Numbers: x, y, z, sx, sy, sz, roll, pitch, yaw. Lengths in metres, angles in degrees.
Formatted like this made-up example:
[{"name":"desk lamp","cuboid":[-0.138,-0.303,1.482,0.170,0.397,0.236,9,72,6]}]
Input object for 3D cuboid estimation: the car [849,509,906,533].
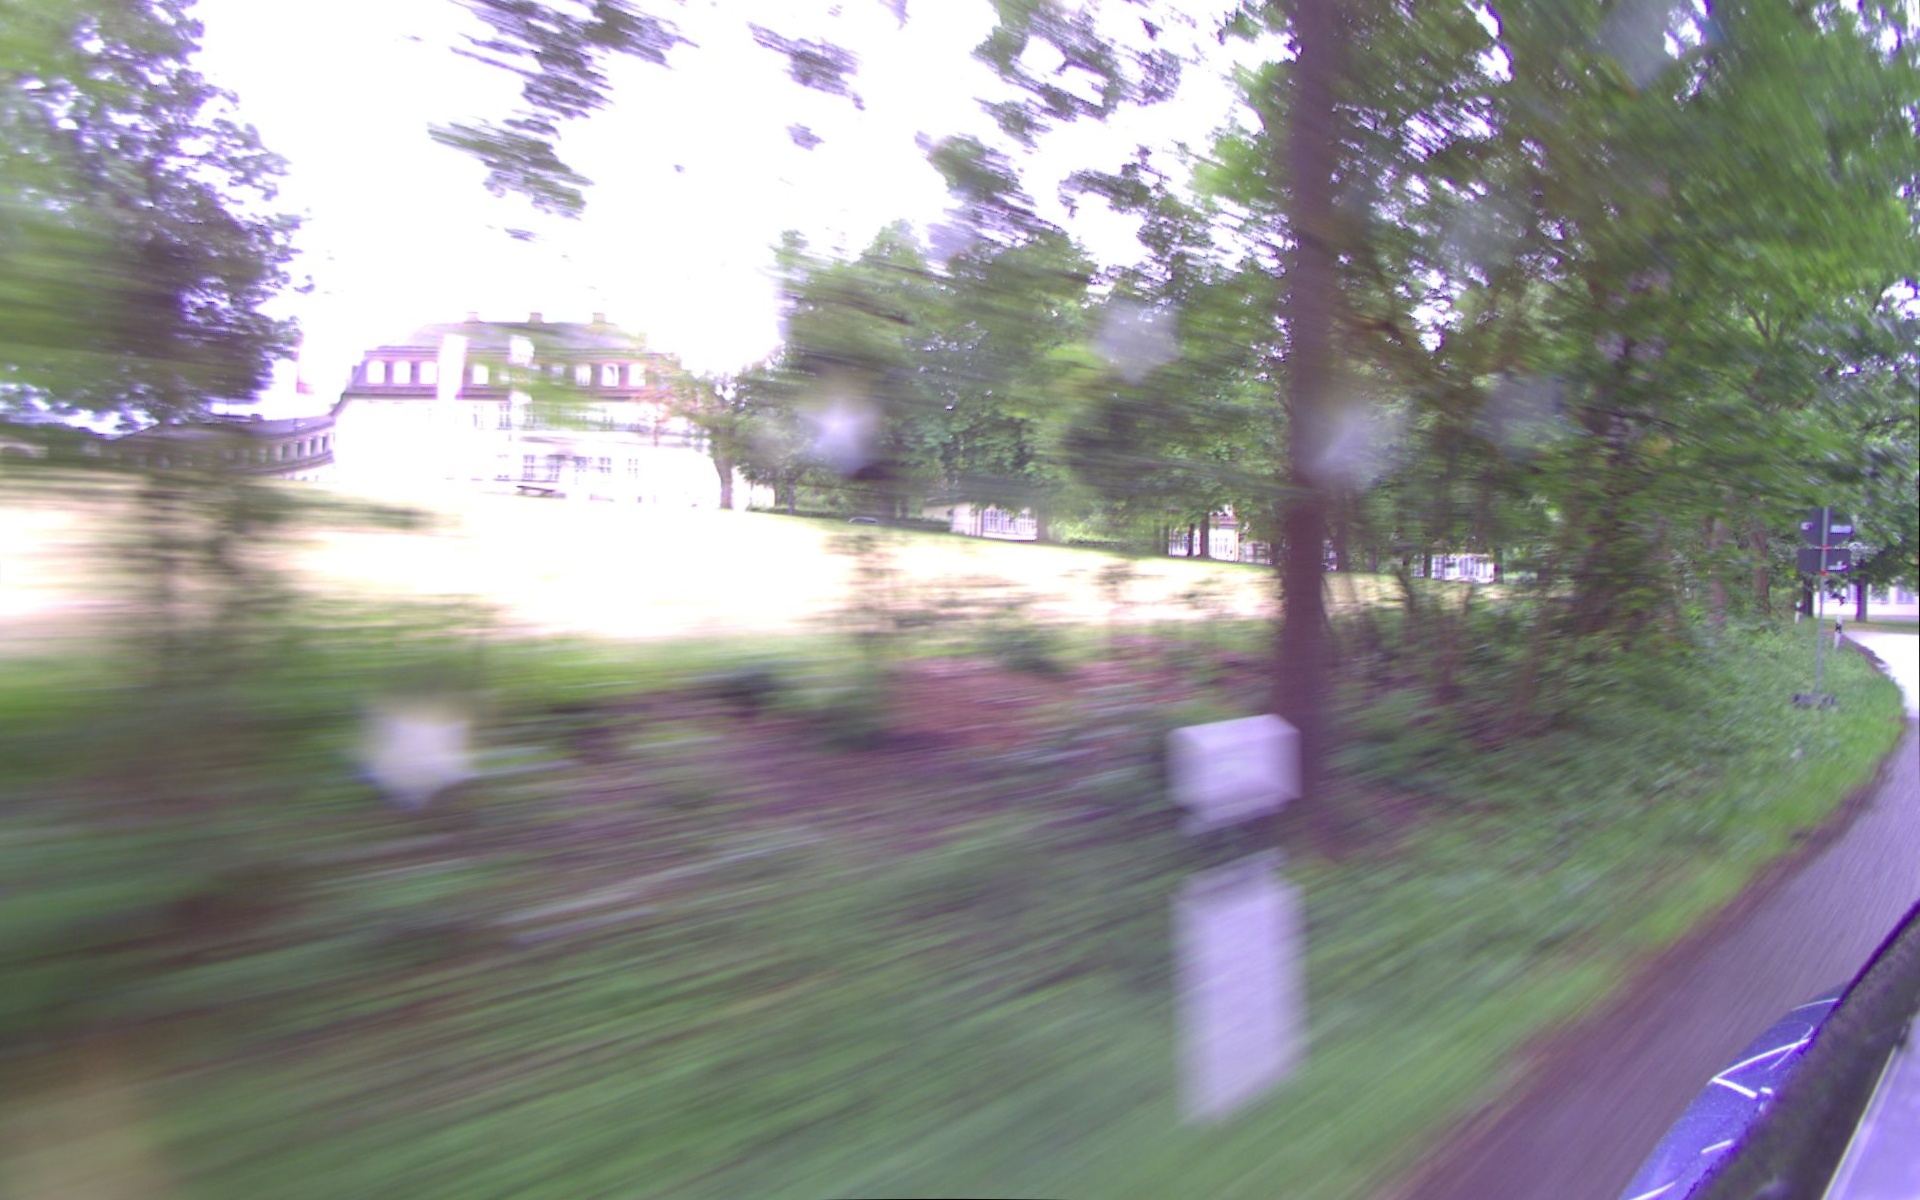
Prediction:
[{"name":"car","cuboid":[-6.327,-6.075,78.037,4.211,1.445,2.002,5,3,-3]}]
